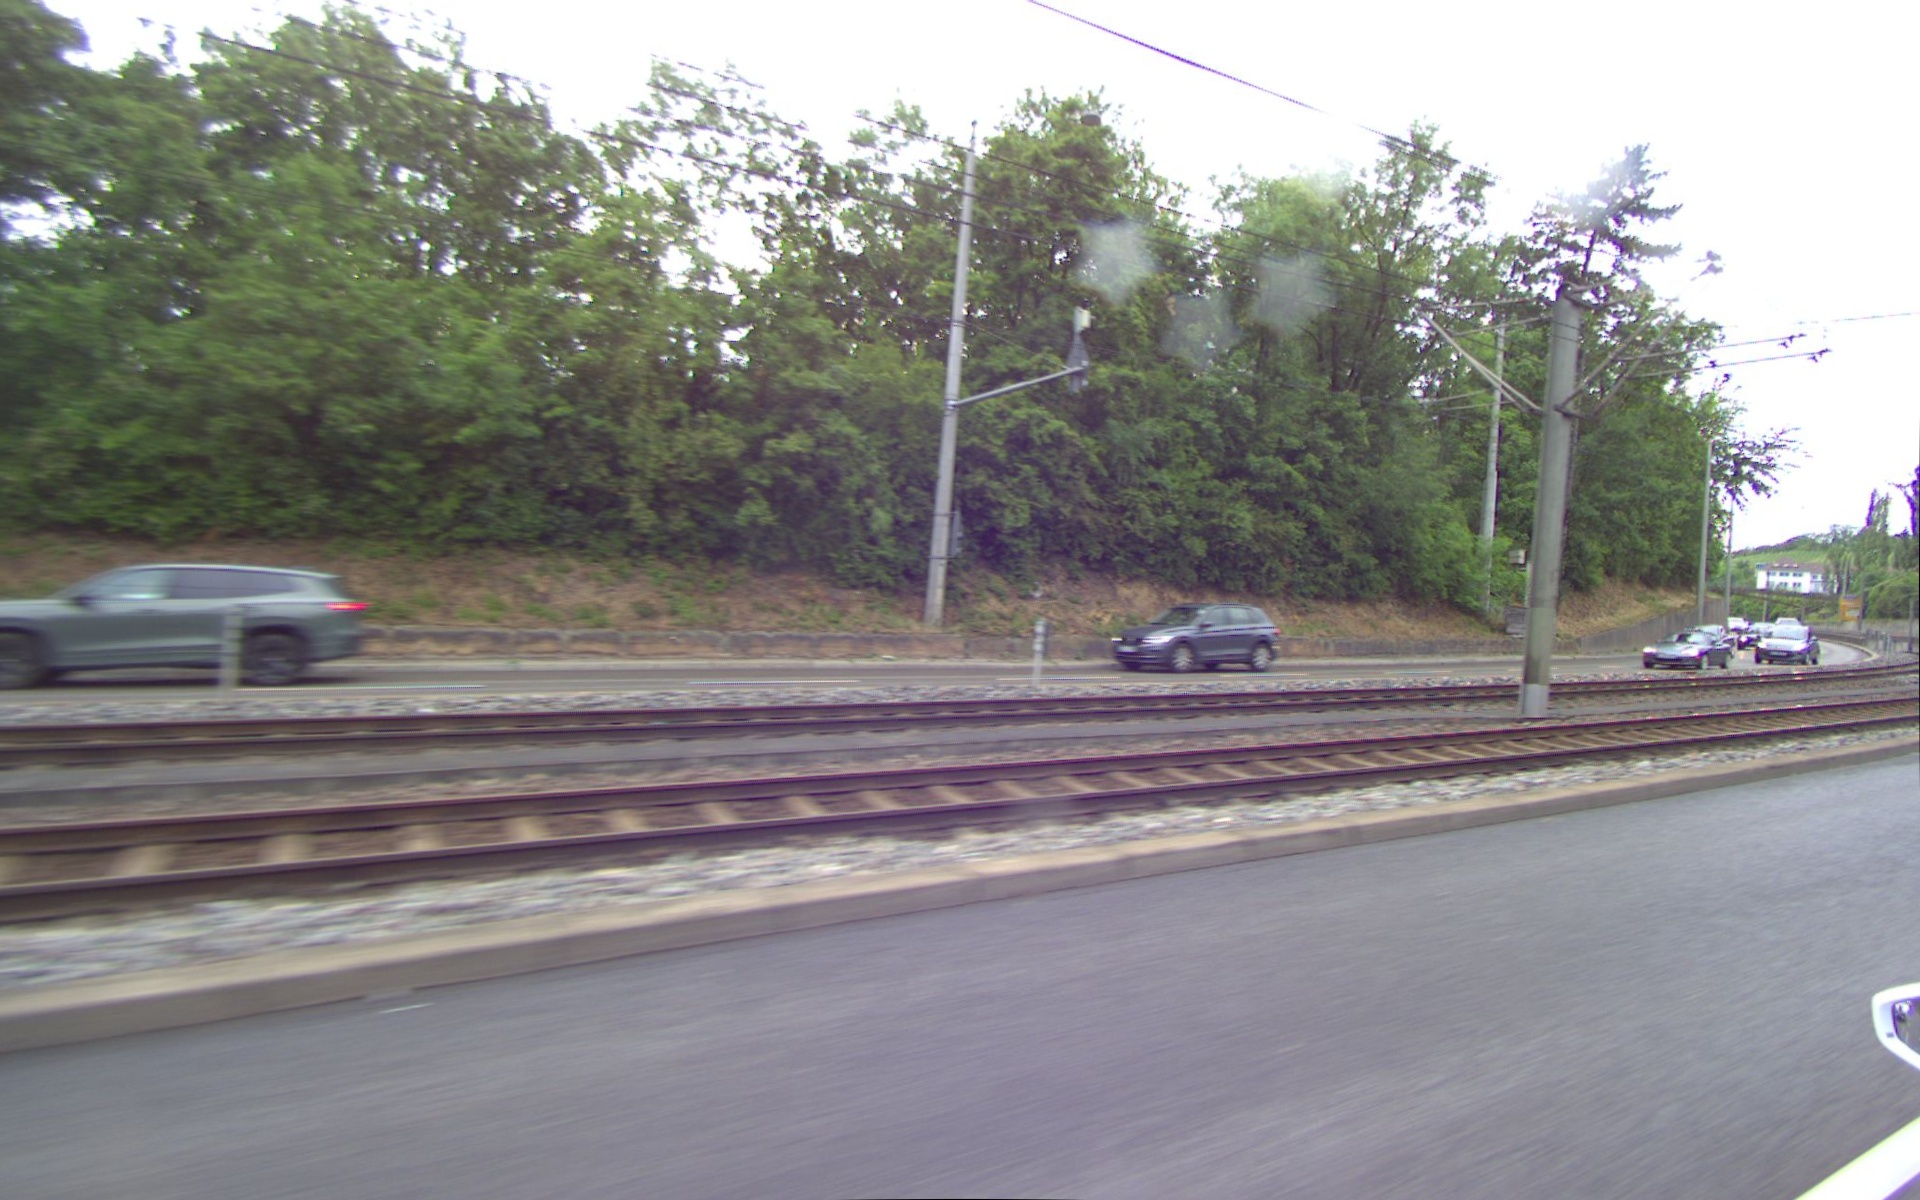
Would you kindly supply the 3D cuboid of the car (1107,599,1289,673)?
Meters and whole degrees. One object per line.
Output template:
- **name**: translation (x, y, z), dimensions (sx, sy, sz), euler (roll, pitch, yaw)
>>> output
- **car**: translation (5.739, 0.863, 24.060), dimensions (4.364, 1.629, 1.697), euler (2, -1, -33)

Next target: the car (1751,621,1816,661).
- **car**: translation (32.506, 1.601, 39.625), dimensions (3.596, 1.511, 1.523), euler (2, -2, -43)

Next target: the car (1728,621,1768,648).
- **car**: translation (46.691, 2.021, 59.584), dimensions (1.722, 1.536, 4.559), euler (0, -1, 37)

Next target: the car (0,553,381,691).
- **car**: translation (-10.812, 0.302, 13.988), dimensions (4.683, 1.692, 1.775), euler (2, 0, -30)

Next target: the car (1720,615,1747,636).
- **car**: translation (80.438, 2.646, 104.413), dimensions (1.970, 2.040, 3.980), euler (3, 1, 41)

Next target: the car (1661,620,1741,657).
- **car**: translation (32.319, 1.663, 43.775), dimensions (4.623, 1.481, 1.801), euler (2, -1, -41)

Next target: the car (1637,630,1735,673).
- **car**: translation (23.501, 1.653, 32.466), dimensions (3.924, 1.274, 1.532), euler (2, -2, -38)

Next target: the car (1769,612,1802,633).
- **car**: translation (77.285, 2.089, 94.054), dimensions (1.901, 1.810, 4.438), euler (1, 0, 34)
